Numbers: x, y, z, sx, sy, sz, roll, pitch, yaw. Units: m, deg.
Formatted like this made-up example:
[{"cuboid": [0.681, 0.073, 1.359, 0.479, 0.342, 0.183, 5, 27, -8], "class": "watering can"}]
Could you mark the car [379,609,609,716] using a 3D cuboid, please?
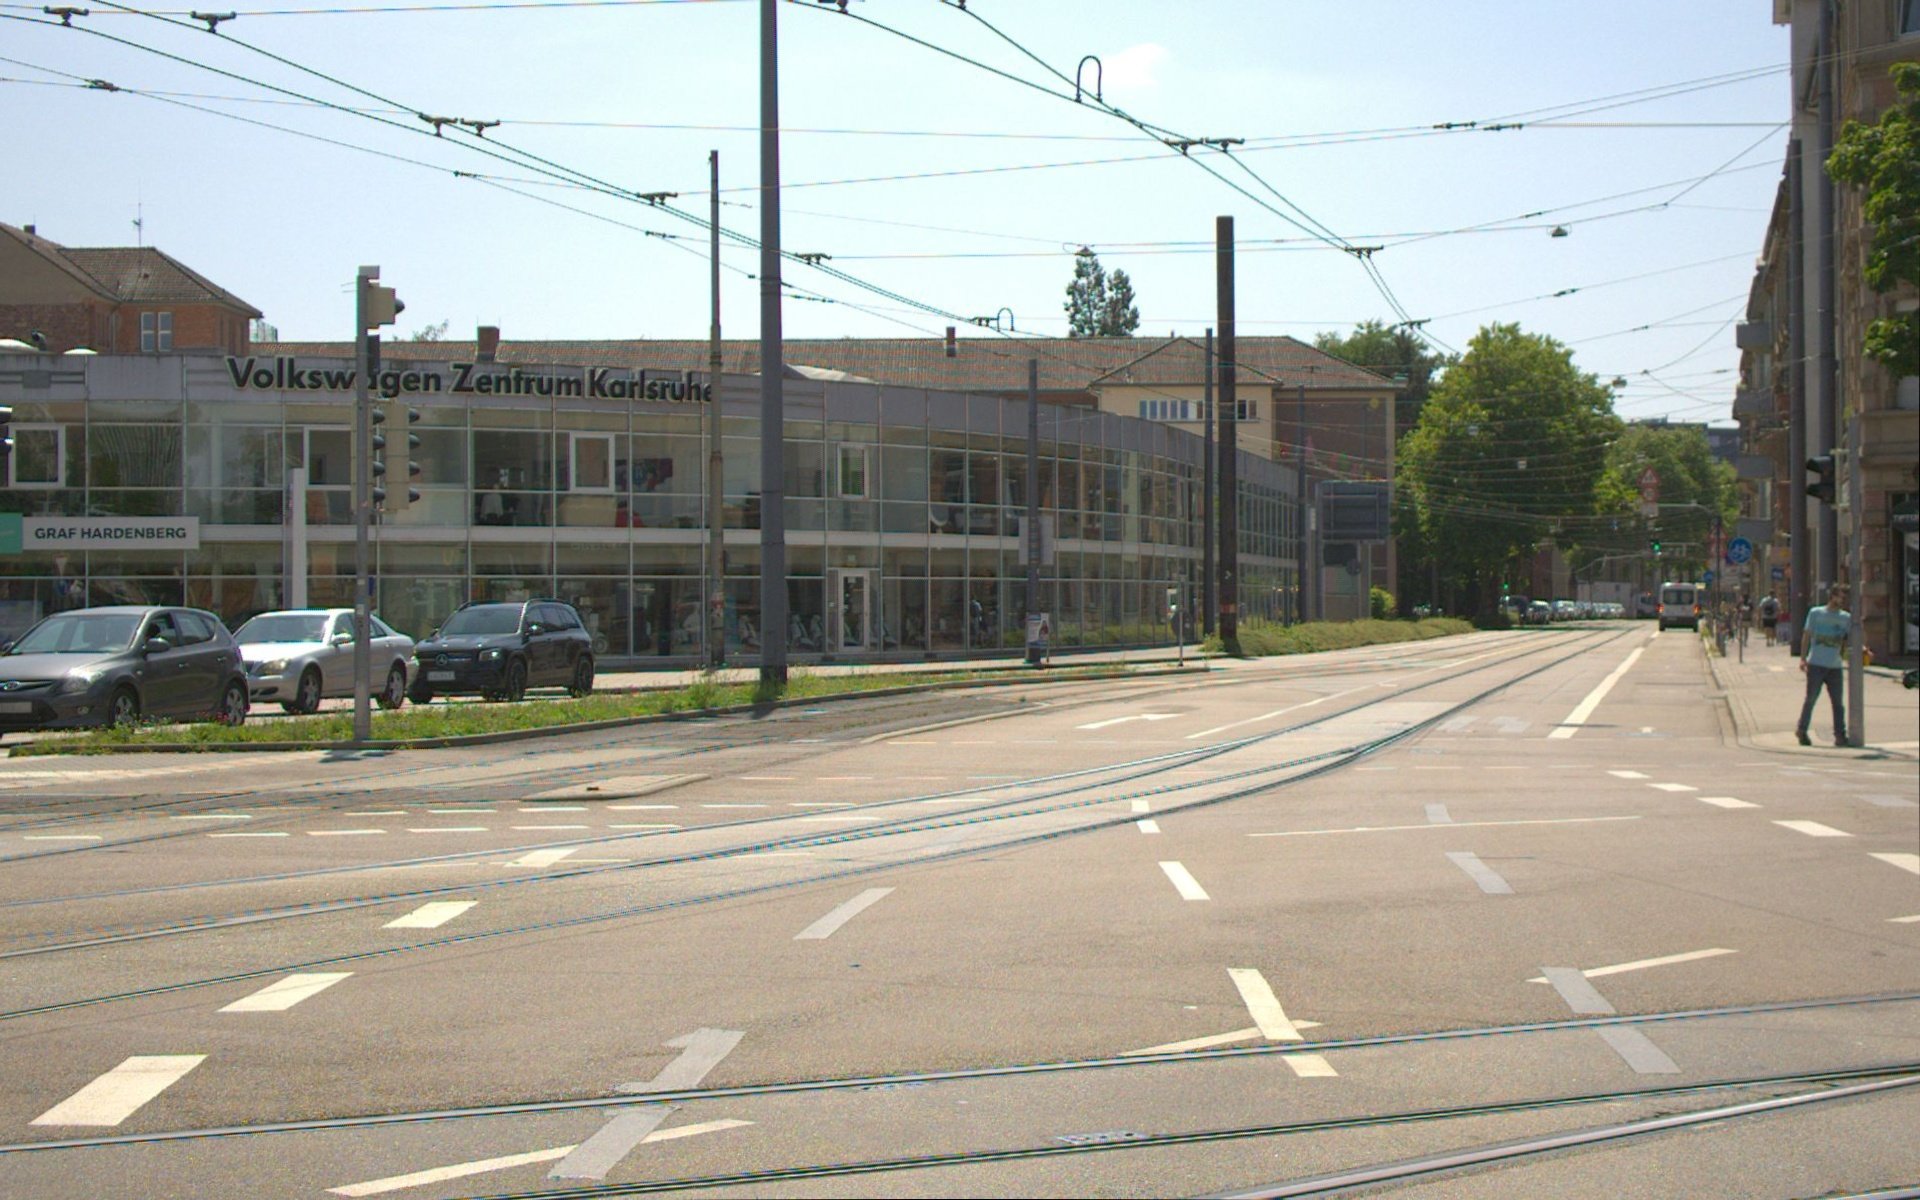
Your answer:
[{"cuboid": [-7.581, 0.988, 56.429, 2.080, 1.677, 4.843, 0, 0, 14], "class": "car"}]

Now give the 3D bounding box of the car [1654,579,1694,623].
[{"cuboid": [37.657, 0.082, 181.282, 1.994, 2.174, 4.366, 1, -1, 12], "class": "car"}]

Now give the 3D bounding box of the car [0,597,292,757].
[{"cuboid": [-9.293, 0.789, 37.713, 1.995, 1.632, 4.843, 0, 0, 14], "class": "car"}]

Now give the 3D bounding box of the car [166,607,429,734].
[{"cuboid": [-9.509, 0.980, 49.744, 1.995, 1.733, 4.540, 0, 0, 14], "class": "car"}]

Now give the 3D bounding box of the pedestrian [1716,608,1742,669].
[{"cuboid": [25.385, 1.271, 113.486, 0.768, 2.007, 0.663, 1, -1, 9], "class": "pedestrian"}]

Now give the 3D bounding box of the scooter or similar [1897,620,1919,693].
[{"cuboid": [16.124, 0.922, 56.229, 1.787, 1.177, 0.599, 0, 0, -39], "class": "scooter or similar"}]

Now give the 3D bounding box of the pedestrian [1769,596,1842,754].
[{"cuboid": [9.207, 0.806, 37.449, 0.461, 1.702, 0.640, 0, 0, -25], "class": "pedestrian"}]
